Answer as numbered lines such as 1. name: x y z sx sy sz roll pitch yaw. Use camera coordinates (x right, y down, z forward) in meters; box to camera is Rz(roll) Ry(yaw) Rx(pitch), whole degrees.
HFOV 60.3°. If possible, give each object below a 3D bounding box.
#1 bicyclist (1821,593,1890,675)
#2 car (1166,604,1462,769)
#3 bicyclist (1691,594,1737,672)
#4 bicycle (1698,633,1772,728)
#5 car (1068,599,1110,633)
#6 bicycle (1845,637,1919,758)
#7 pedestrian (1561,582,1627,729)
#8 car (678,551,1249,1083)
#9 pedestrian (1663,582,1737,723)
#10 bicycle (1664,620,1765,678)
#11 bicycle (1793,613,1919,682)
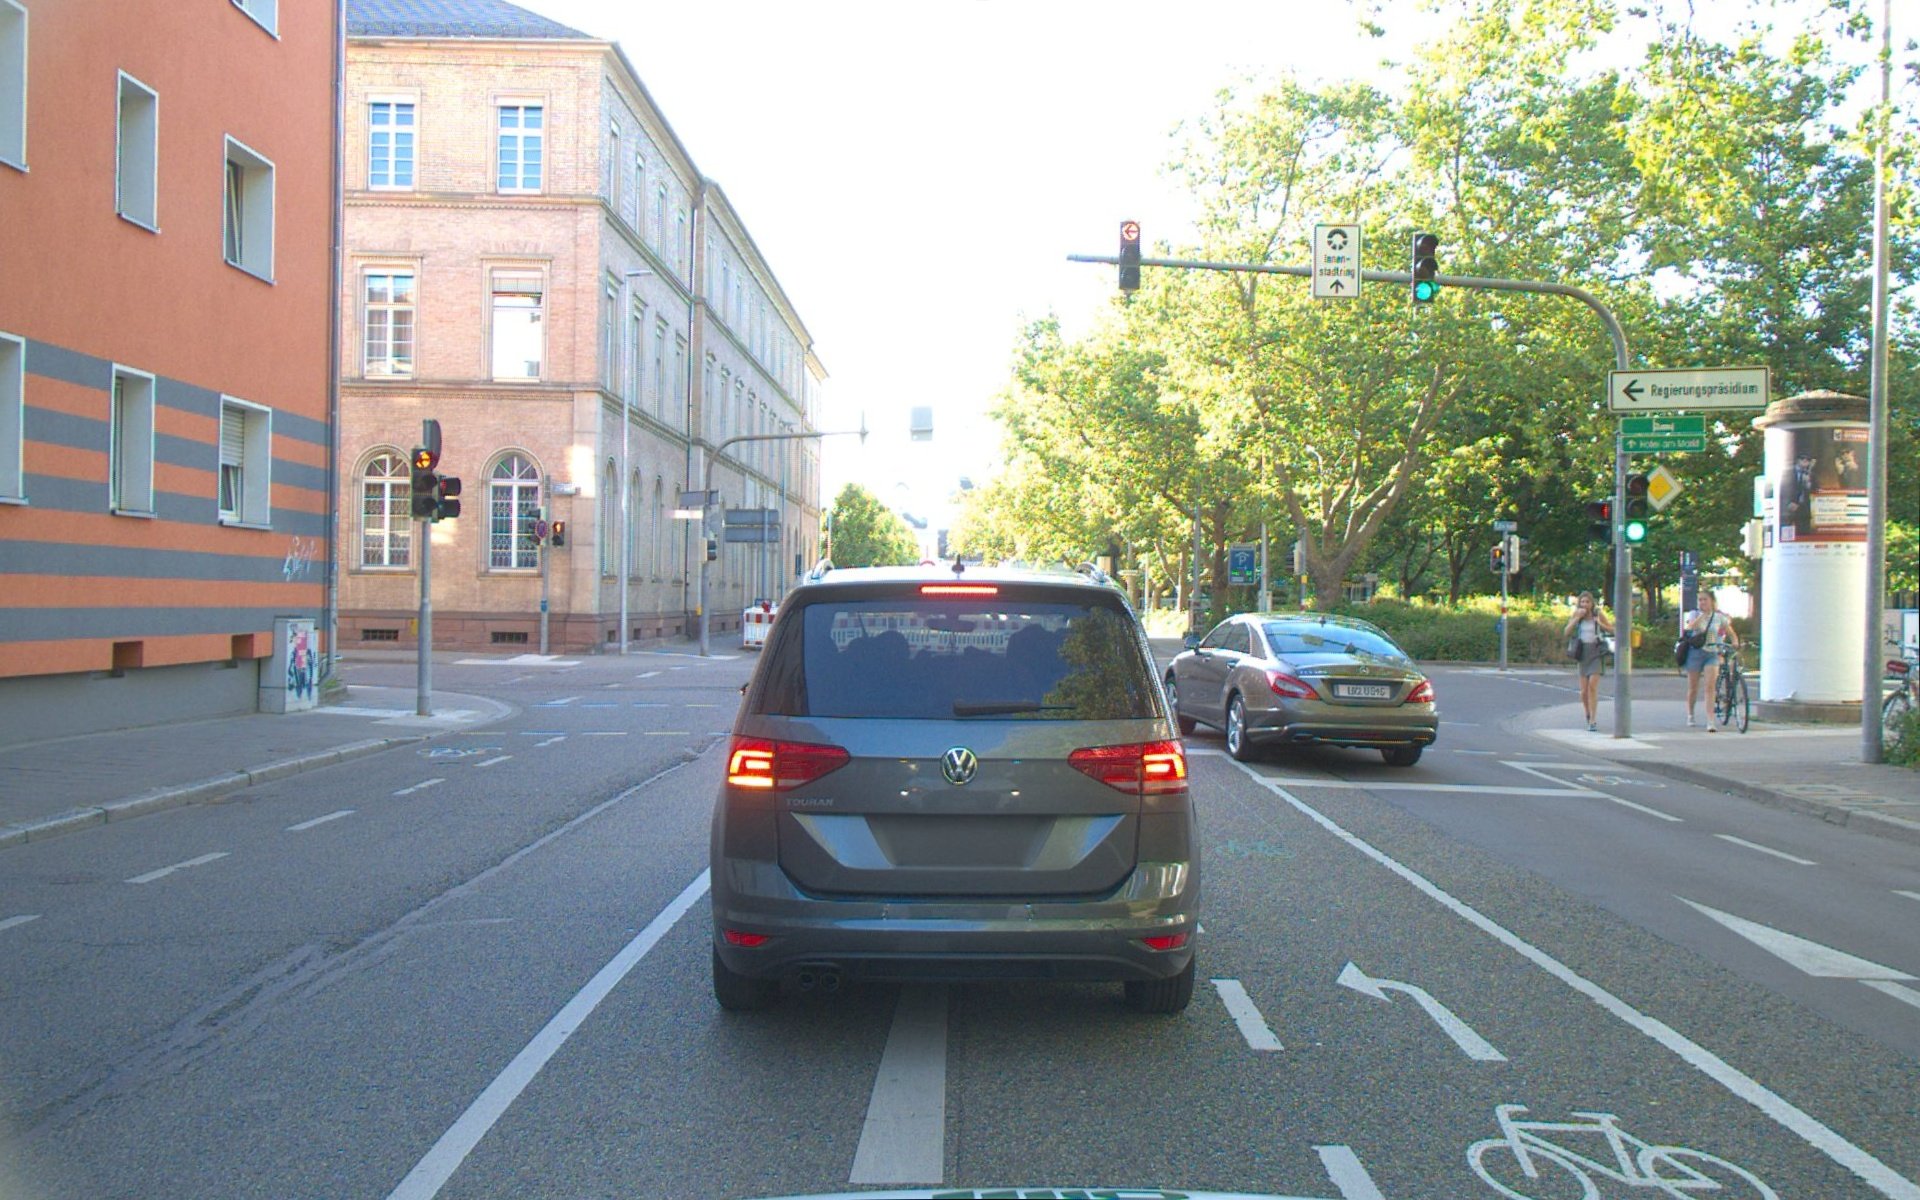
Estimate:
1. bicyclist: 18.337 0.688 33.885 0.944 1.643 0.870 1 0 2
2. car: 3.497 0.796 17.242 1.807 1.454 4.513 1 0 -4
3. bicyclist: 17.022 0.746 37.361 0.695 1.727 0.675 1 0 0
4. bicycle: 9.764 0.992 20.888 0.513 1.119 1.742 1 0 15
5. car: 6.156 0.754 79.220 1.655 1.465 3.902 4 0 1
6. bicycle: 10.213 1.011 17.015 1.935 1.210 0.528 1 0 -1
7. pedestrian: 8.144 0.701 21.282 0.716 1.840 0.909 0 -1 17
8. car: 0.074 0.681 7.166 1.772 1.640 4.001 0 0 2
9. pedestrian: 9.374 0.649 20.980 0.668 1.727 0.971 1 0 15
10. bicycle: 17.042 1.106 37.367 1.989 1.242 0.599 1 0 0
11. bicycle: 18.356 0.966 33.858 2.241 1.349 0.660 1 0 1
